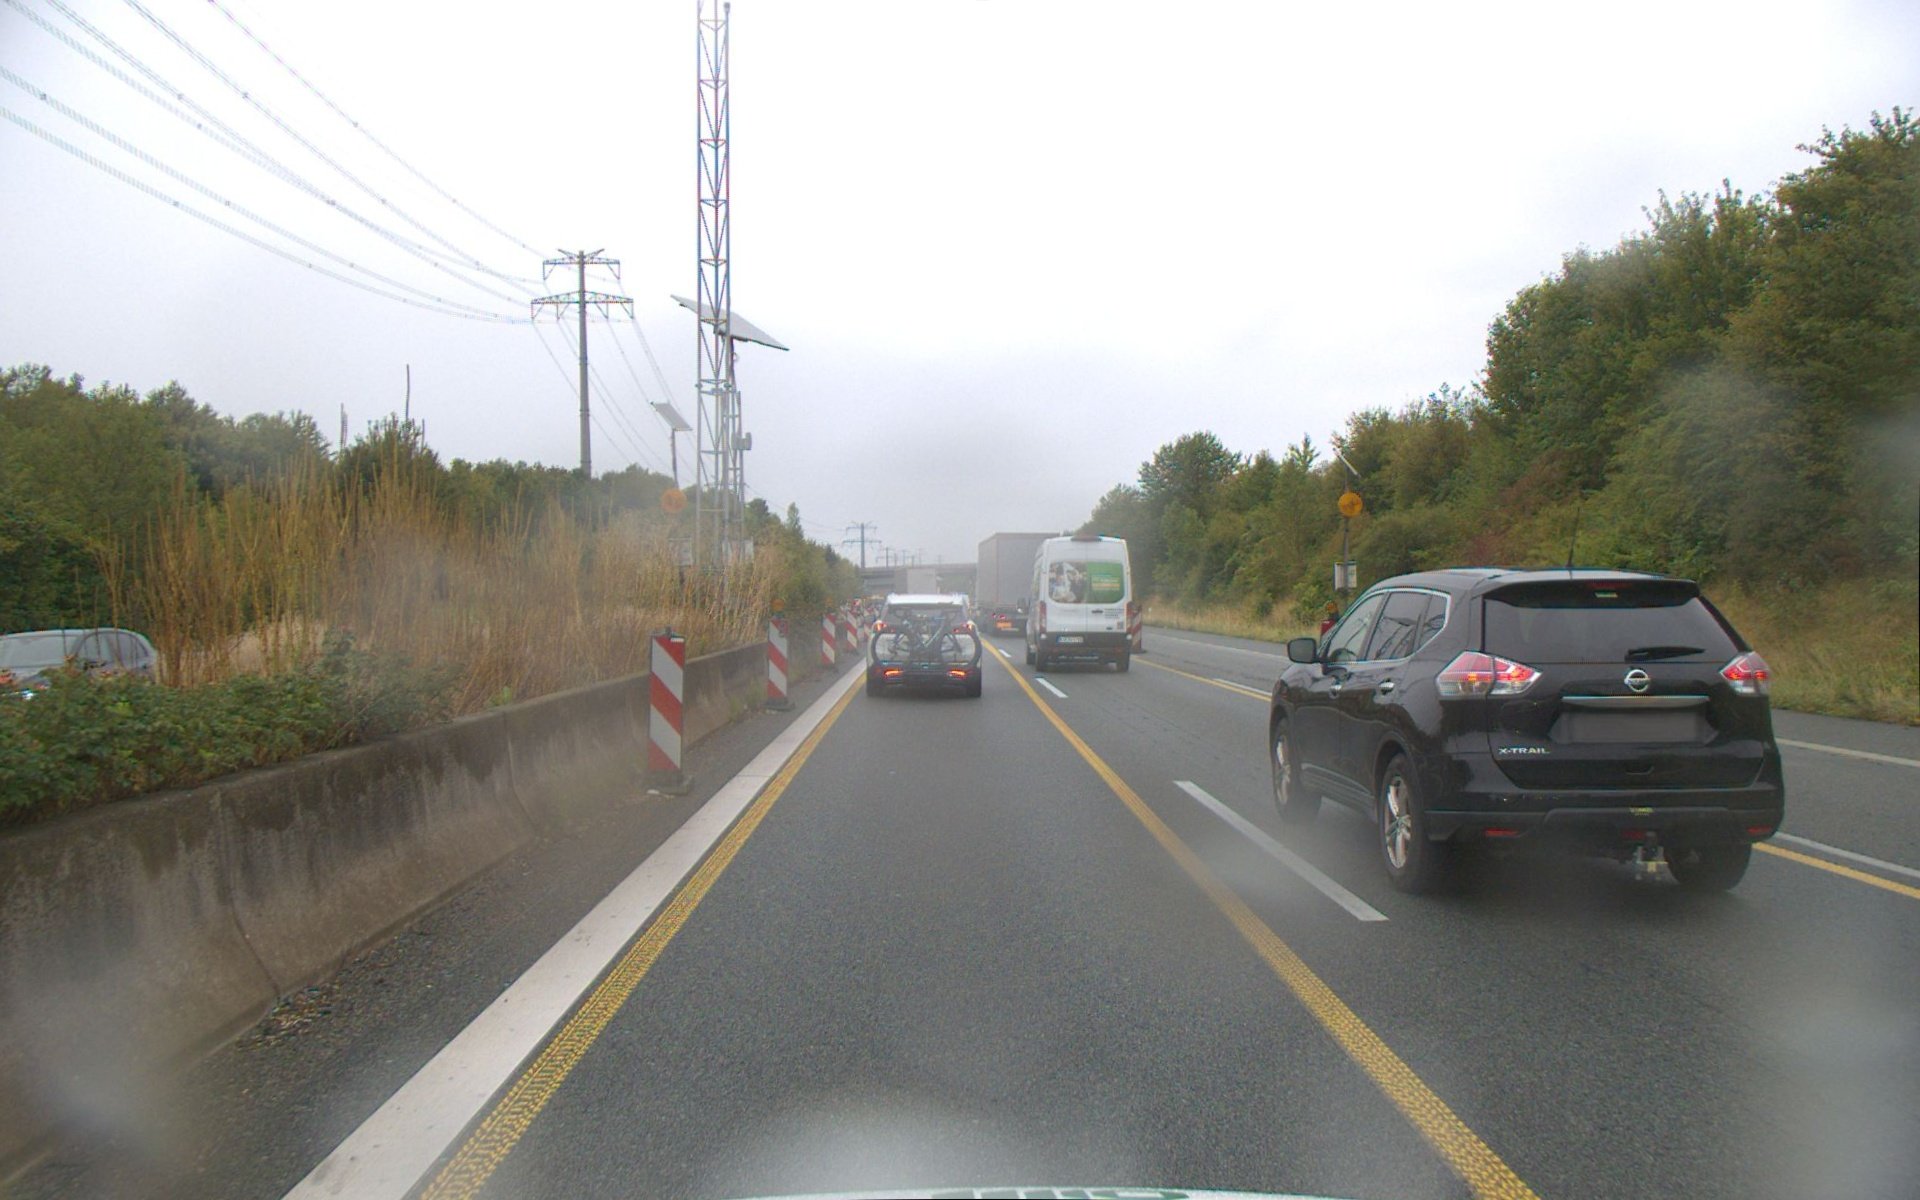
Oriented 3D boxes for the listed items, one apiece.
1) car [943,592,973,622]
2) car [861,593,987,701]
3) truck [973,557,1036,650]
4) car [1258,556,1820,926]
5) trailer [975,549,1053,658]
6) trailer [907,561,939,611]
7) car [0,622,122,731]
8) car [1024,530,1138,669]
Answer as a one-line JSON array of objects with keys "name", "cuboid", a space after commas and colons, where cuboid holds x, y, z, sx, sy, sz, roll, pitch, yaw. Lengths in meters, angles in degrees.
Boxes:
[{"name": "car", "cuboid": [-0.153, 0.420, 106.203, 1.792, 1.871, 4.654, 0, 0, -1]}, {"name": "car", "cuboid": [-0.579, 0.676, 26.226, 1.813, 1.557, 4.767, 0, 0, -1]}, {"name": "truck", "cuboid": [2.045, 0.144, 78.027, 2.651, 4.211, 5.689, 0, 0, -1]}, {"name": "car", "cuboid": [3.055, 0.637, 9.736, 1.651, 1.687, 4.278, 0, 0, -3]}, {"name": "trailer", "cuboid": [2.132, 0.119, 70.612, 2.651, 4.219, 13.729, 0, 0, -1]}, {"name": "trailer", "cuboid": [-3.216, -1.198, 143.359, 2.638, 4.148, 13.629, 0, 0, -1]}, {"name": "car", "cuboid": [-11.751, 0.883, 19.455, 1.697, 1.206, 4.159, 1, 0, -1]}, {"name": "car", "cuboid": [2.579, -0.024, 36.651, 1.953, 2.831, 5.754, 0, 0, -1]}]
